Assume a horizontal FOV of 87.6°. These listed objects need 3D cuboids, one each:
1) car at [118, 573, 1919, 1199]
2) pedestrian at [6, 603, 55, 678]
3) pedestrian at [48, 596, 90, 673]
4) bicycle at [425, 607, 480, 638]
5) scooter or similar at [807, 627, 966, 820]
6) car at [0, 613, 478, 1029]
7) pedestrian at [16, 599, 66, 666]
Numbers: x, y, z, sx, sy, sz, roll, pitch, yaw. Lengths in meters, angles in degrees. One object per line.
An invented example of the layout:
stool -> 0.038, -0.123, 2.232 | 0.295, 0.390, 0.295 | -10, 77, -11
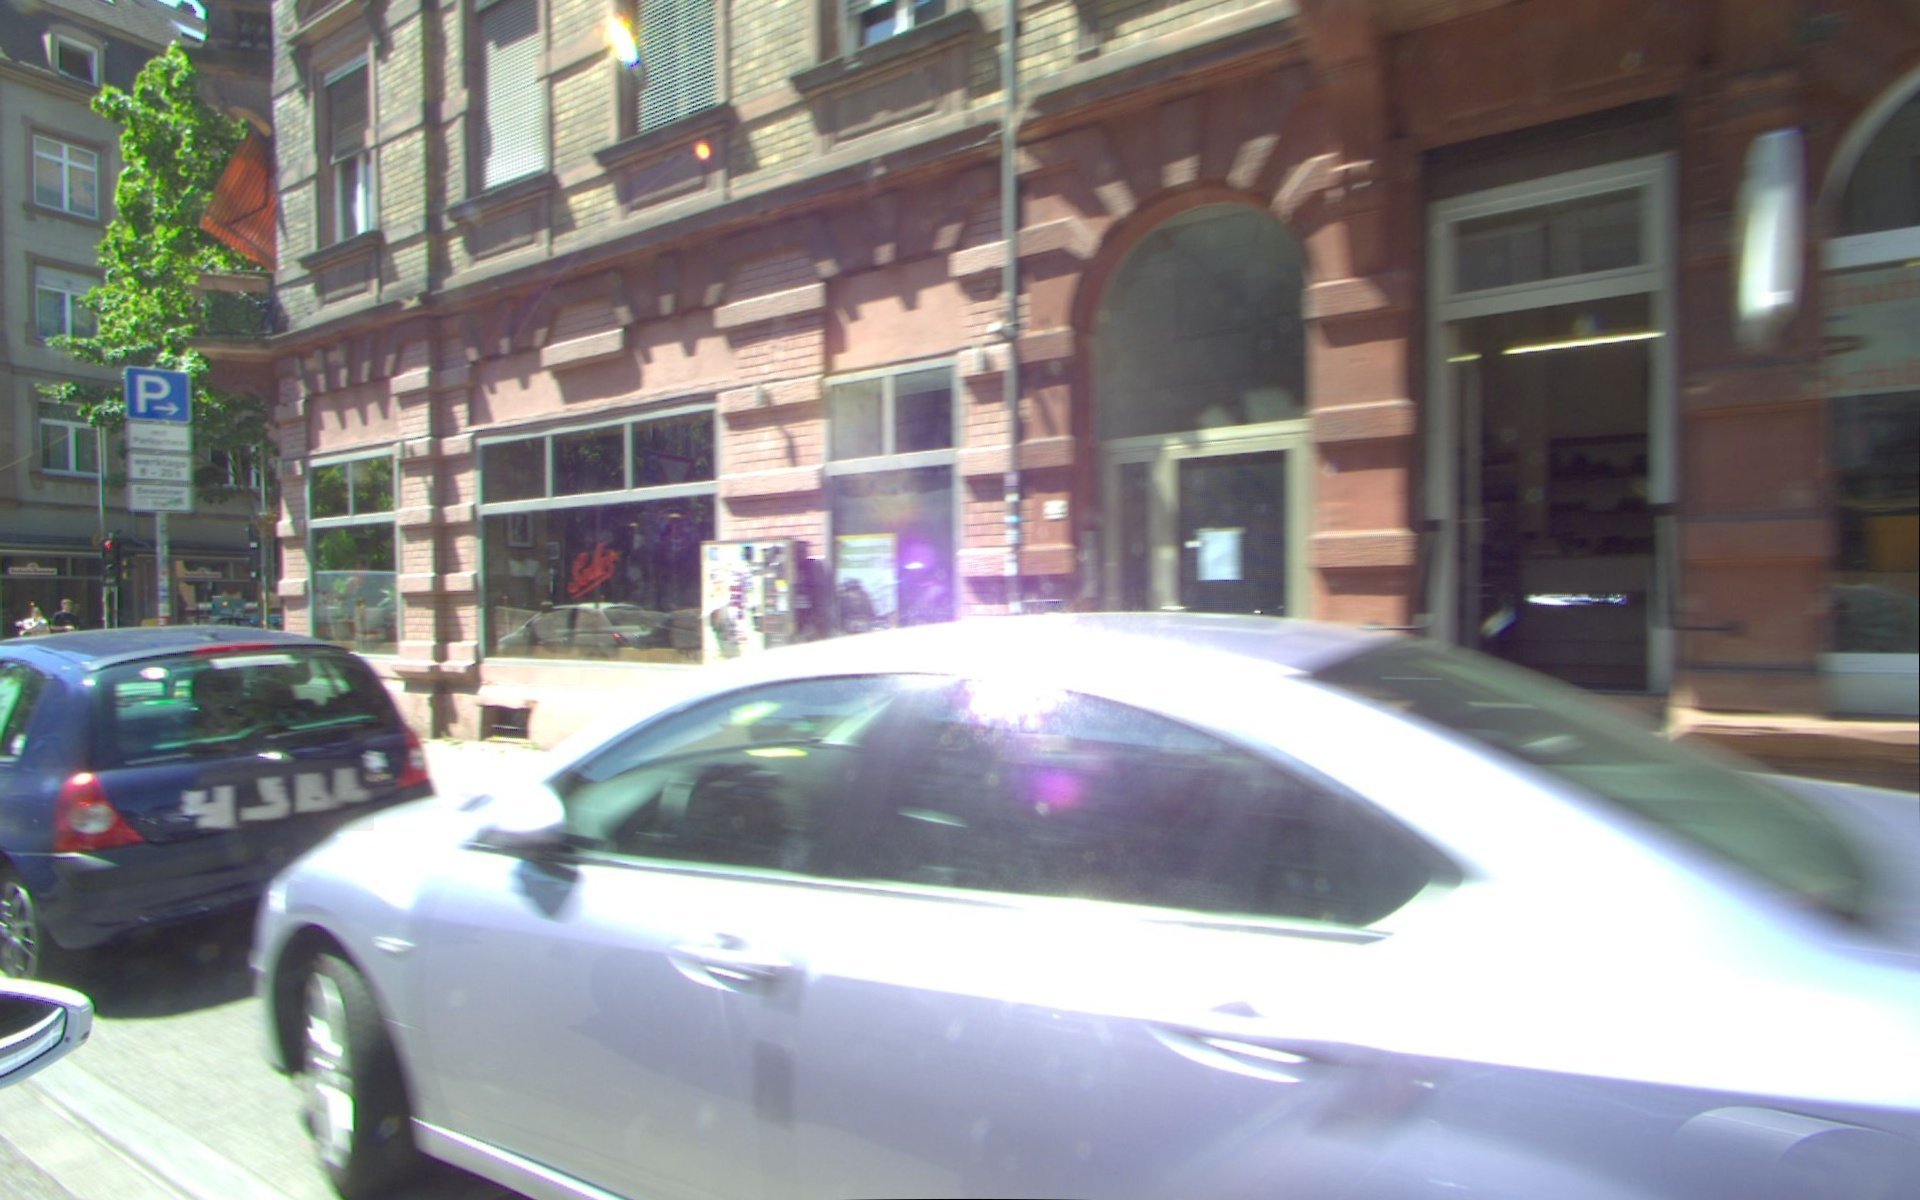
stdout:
car -> -0.157, 0.705, 2.595 | 4.419, 1.451, 1.722 | -1, 1, 31
pedestrian -> -21.786, 0.937, 23.471 | 0.415, 1.669, 0.701 | 3, 4, 24
pedestrian -> -21.568, 0.828, 24.240 | 0.463, 1.794, 0.575 | 3, 4, 24
bicycle -> -17.597, 0.767, 34.769 | 0.497, 1.010, 1.722 | 2, 1, 28
scooter or similar -> -0.524, 0.785, 6.793 | 1.257, 1.192, 0.291 | 0, 0, 42
car -> -4.372, 0.821, 5.210 | 3.606, 1.451, 1.624 | -1, 1, 31
pedestrian -> -23.011, 0.810, 25.077 | 0.634, 1.645, 0.799 | 0, 1, 35
